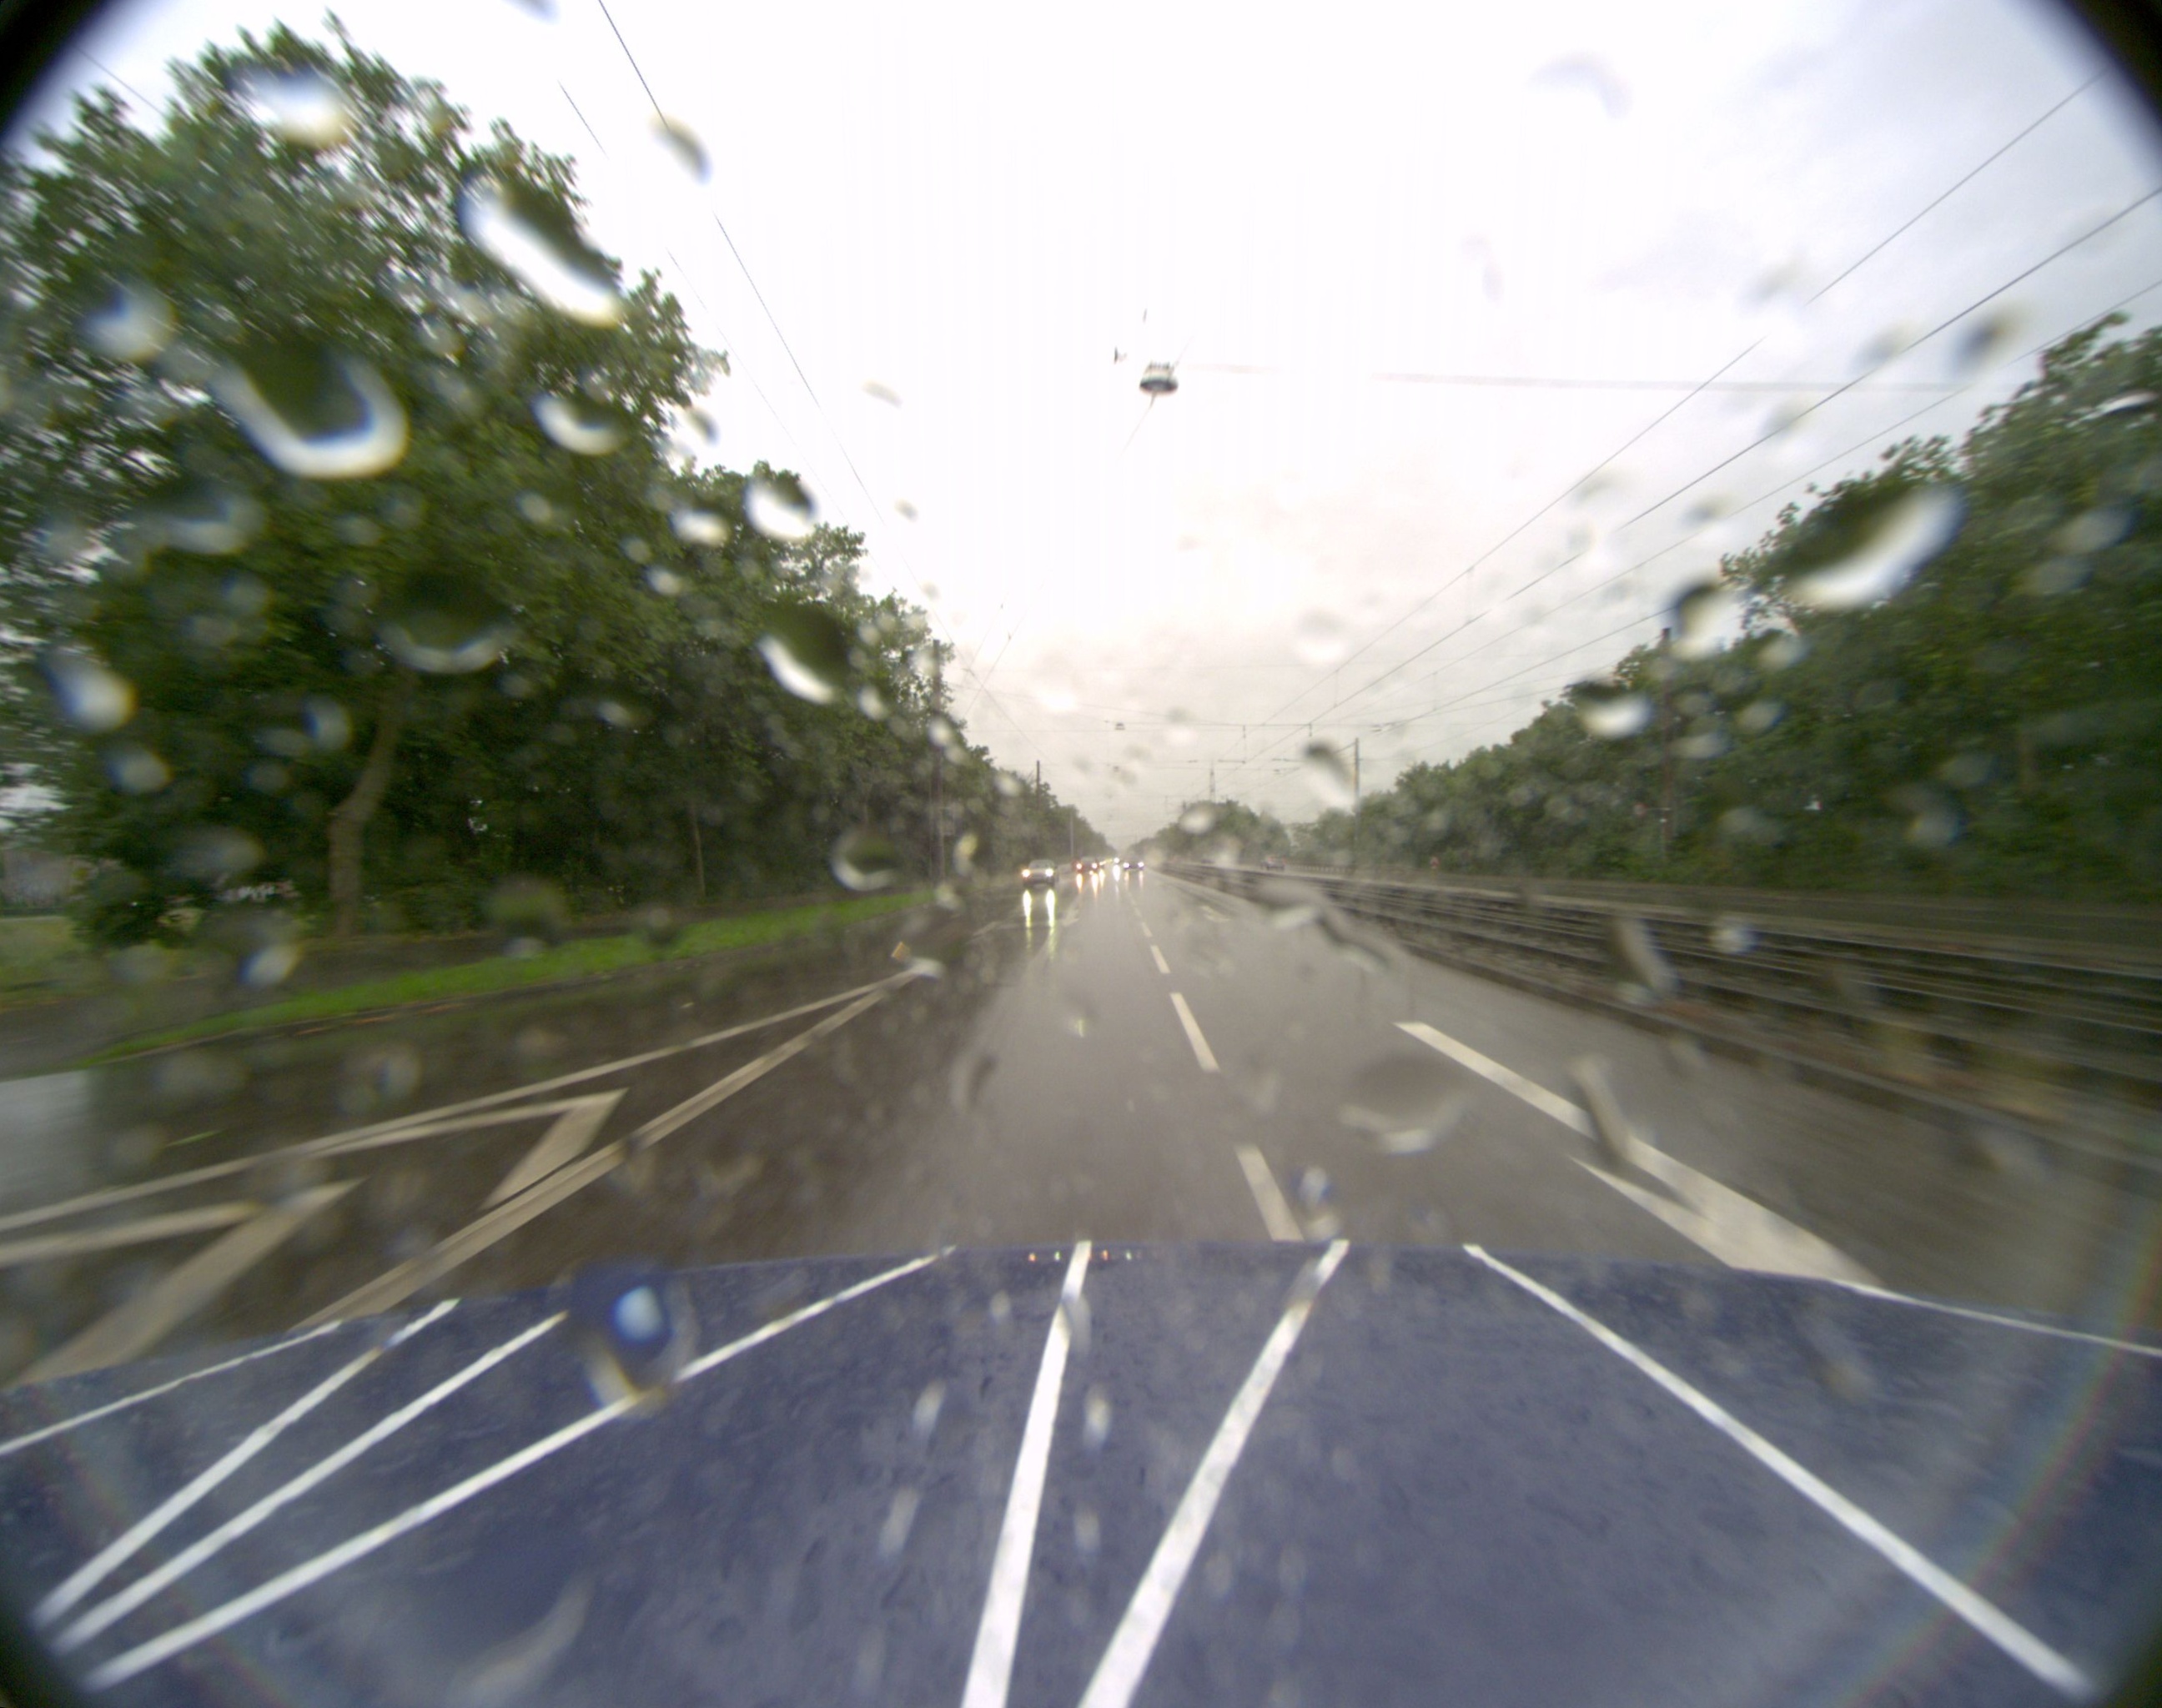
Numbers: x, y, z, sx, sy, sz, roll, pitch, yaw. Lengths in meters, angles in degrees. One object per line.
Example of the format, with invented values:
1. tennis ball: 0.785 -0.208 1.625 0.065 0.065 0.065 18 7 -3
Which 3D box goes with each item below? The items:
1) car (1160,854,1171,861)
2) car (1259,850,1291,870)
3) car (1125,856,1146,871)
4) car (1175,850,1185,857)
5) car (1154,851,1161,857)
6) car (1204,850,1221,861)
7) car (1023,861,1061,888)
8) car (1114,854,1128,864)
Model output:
1. car: 18.718 0.811 168.106 1.998 1.380 4.853 -1 0 1
2. car: 19.037 0.585 74.690 1.998 1.772 4.000 -6 0 2
3. car: 5.540 0.968 77.413 1.971 1.412 4.000 0 1 2
4. car: 22.465 -0.066 172.520 1.845 1.565 4.385 -1 1 2
5. car: 24.191 0.074 240.644 1.853 1.821 4.394 -4 0 2
6. car: 21.086 0.262 122.239 1.998 1.662 4.872 -1 0 1
7. car: -2.124 1.109 42.390 1.750 1.412 4.000 0 1 2
8. car: 5.796 0.688 109.886 1.971 1.412 4.000 0 1 2
